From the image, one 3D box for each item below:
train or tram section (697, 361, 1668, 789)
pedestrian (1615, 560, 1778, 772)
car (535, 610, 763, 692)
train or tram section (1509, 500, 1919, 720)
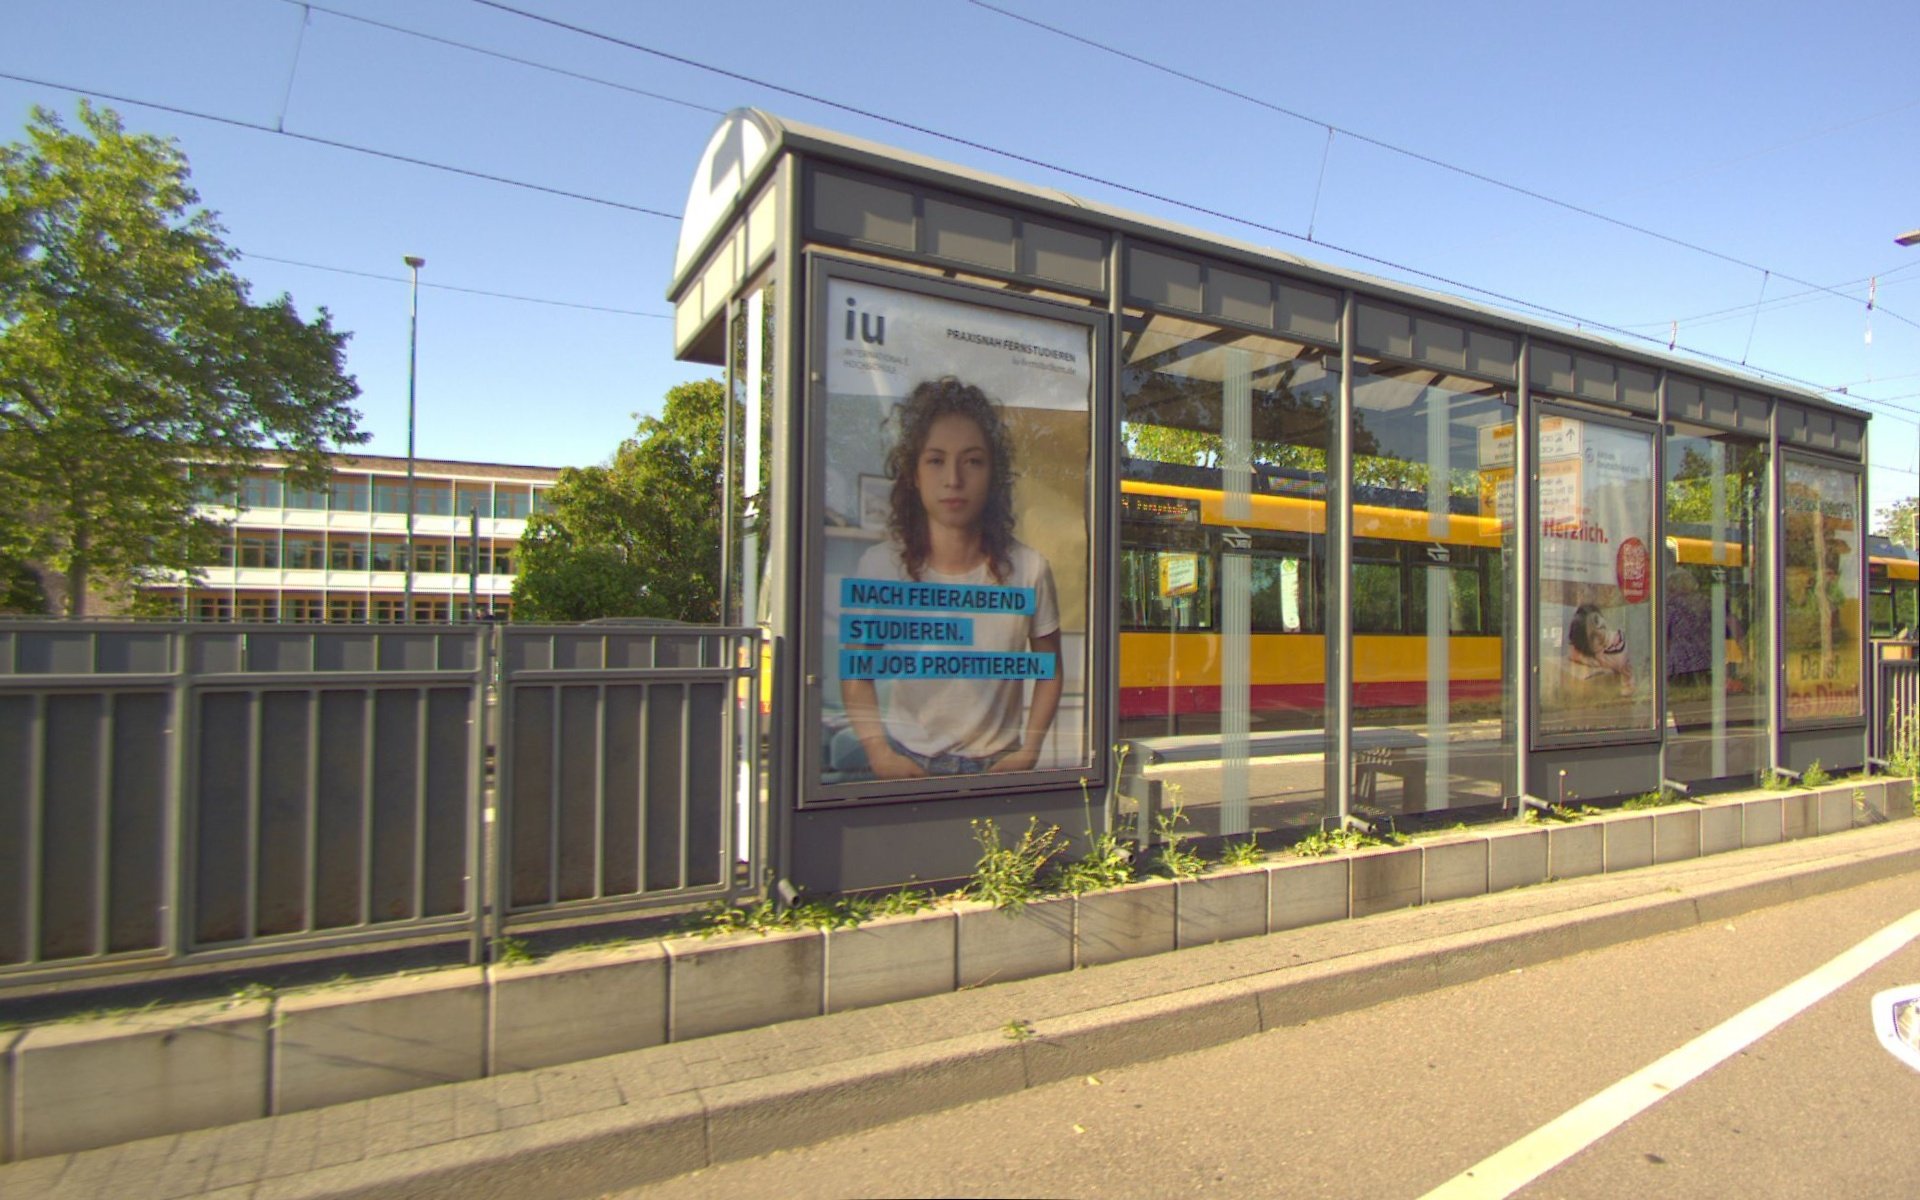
[{"bbox_3d":[4.427,-0.042,14.530,15.678,4.059,2.816,2,0,-29],"label":"train or tram section"},{"bbox_3d":[5.573,0.481,7.642,0.681,1.513,0.762,1,0,5],"label":"pedestrian"},{"bbox_3d":[-6.082,0.965,19.683,3.952,1.437,1.984,2,-1,-30],"label":"car"},{"bbox_3d":[16.996,0.328,21.371,12.808,3.736,2.816,2,0,-29],"label":"train or tram section"}]
